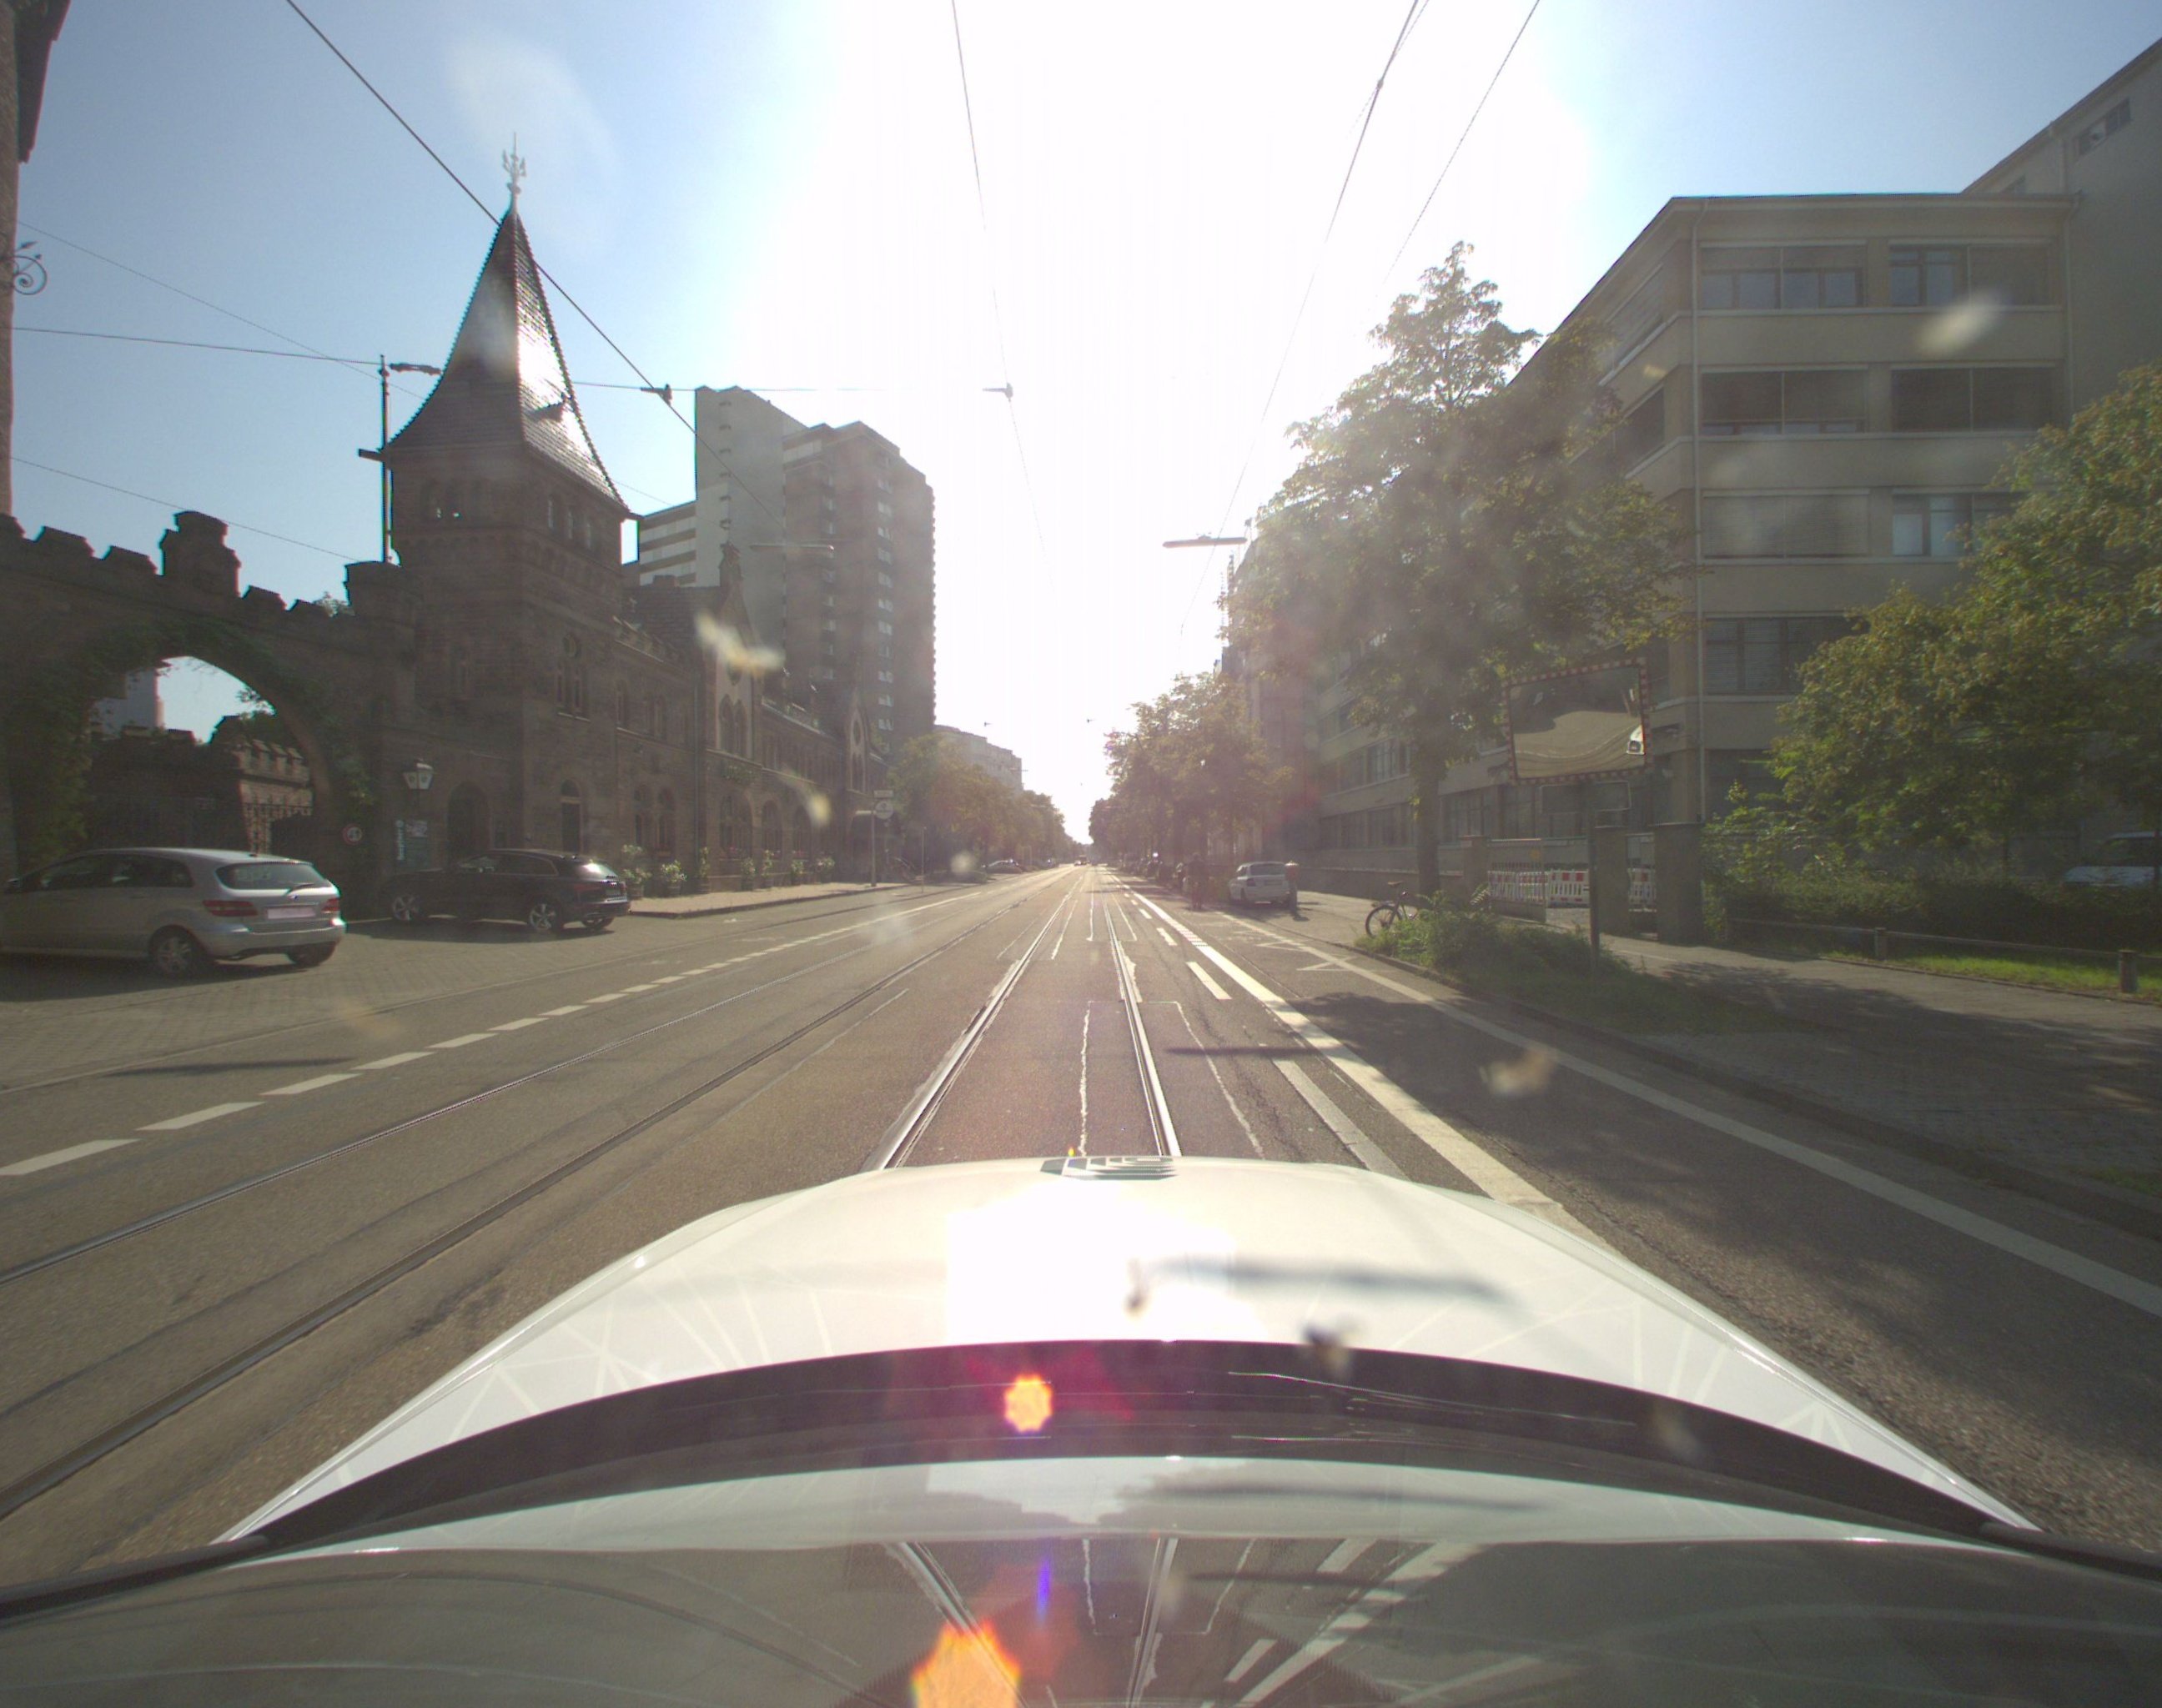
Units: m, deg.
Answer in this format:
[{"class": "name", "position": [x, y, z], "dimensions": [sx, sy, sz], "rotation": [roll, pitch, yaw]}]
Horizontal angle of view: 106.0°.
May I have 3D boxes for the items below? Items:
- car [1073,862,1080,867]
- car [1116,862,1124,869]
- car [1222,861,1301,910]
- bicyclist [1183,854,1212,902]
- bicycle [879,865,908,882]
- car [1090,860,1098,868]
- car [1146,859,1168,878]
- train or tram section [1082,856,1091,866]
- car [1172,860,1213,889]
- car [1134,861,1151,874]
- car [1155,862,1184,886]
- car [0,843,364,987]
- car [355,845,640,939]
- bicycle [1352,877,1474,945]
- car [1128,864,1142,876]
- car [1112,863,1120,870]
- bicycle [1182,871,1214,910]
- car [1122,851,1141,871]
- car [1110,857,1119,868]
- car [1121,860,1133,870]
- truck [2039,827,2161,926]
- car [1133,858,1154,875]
[{"class": "car", "position": [-1.098, 2.680, 212.798], "dimensions": [1.822, 1.376, 4.512], "rotation": [-1, -1, 0]}, {"class": "car", "position": [7.840, 2.355, 163.625], "dimensions": [1.683, 1.418, 3.635], "rotation": [-1, -1, 2]}, {"class": "car", "position": [5.841, 0.981, 26.783], "dimensions": [1.635, 1.430, 3.987], "rotation": [-2, -1, -1]}, {"class": "bicyclist", "position": [3.654, 0.735, 25.550], "dimensions": [0.784, 1.470, 1.117], "rotation": [-1, -1, 2]}, {"class": "bicycle", "position": [-12.566, 1.319, 54.611], "dimensions": [1.809, 1.074, 0.418], "rotation": [4, -3, -22]}, {"class": "car", "position": [3.325, 2.506, 207.328], "dimensions": [1.986, 1.838, 4.002], "rotation": [-1, -1, 2]}, {"class": "car", "position": [6.450, 1.245, 69.612], "dimensions": [1.570, 1.485, 3.739], "rotation": [-2, 0, 1]}, {"class": "train or tram section", "position": [1.867, 2.229, 261.813], "dimensions": [2.719, 2.895, 15.455], "rotation": [-1, -1, 1]}, {"class": "car", "position": [6.085, 1.097, 44.931], "dimensions": [1.641, 1.428, 4.084], "rotation": [-2, -1, 0]}, {"class": "car", "position": [6.822, 1.495, 90.405], "dimensions": [1.611, 1.413, 4.001], "rotation": [-2, -1, 1]}, {"class": "car", "position": [6.159, 1.363, 56.758], "dimensions": [1.640, 1.511, 3.779], "rotation": [-3, -1, 1]}, {"class": "car", "position": [-12.566, 0.756, 11.123], "dimensions": [3.883, 1.596, 1.824], "rotation": [3, 0, 3]}, {"class": "car", "position": [-12.011, 0.760, 17.037], "dimensions": [4.385, 1.646, 1.955], "rotation": [3, -1, -2]}, {"class": "bicycle", "position": [5.757, 0.974, 14.205], "dimensions": [1.764, 1.064, 0.796], "rotation": [-2, -1, -2]}, {"class": "car", "position": [6.652, 1.982, 100.847], "dimensions": [1.610, 1.374, 4.828], "rotation": [-2, -1, 2]}, {"class": "car", "position": [7.626, 2.771, 177.391], "dimensions": [1.589, 1.418, 3.635], "rotation": [-1, -1, 2]}, {"class": "bicycle", "position": [3.653, 1.111, 25.552], "dimensions": [0.784, 1.144, 2.306], "rotation": [-1, -1, 3]}, {"class": "car", "position": [6.856, 0.975, 110.853], "dimensions": [2.076, 2.552, 5.499], "rotation": [-4, -1, -1]}, {"class": "car", "position": [8.458, 2.113, 205.503], "dimensions": [1.997, 2.491, 4.478], "rotation": [-1, -2, 2]}, {"class": "car", "position": [7.288, 1.749, 130.080], "dimensions": [1.747, 1.377, 4.719], "rotation": [-2, -1, 1]}, {"class": "truck", "position": [27.233, 0.481, 19.259], "dimensions": [6.542, 2.215, 2.121], "rotation": [-1, -1, 1]}, {"class": "car", "position": [6.101, 1.210, 79.943], "dimensions": [1.748, 1.691, 4.394], "rotation": [0, 0, -1]}]
